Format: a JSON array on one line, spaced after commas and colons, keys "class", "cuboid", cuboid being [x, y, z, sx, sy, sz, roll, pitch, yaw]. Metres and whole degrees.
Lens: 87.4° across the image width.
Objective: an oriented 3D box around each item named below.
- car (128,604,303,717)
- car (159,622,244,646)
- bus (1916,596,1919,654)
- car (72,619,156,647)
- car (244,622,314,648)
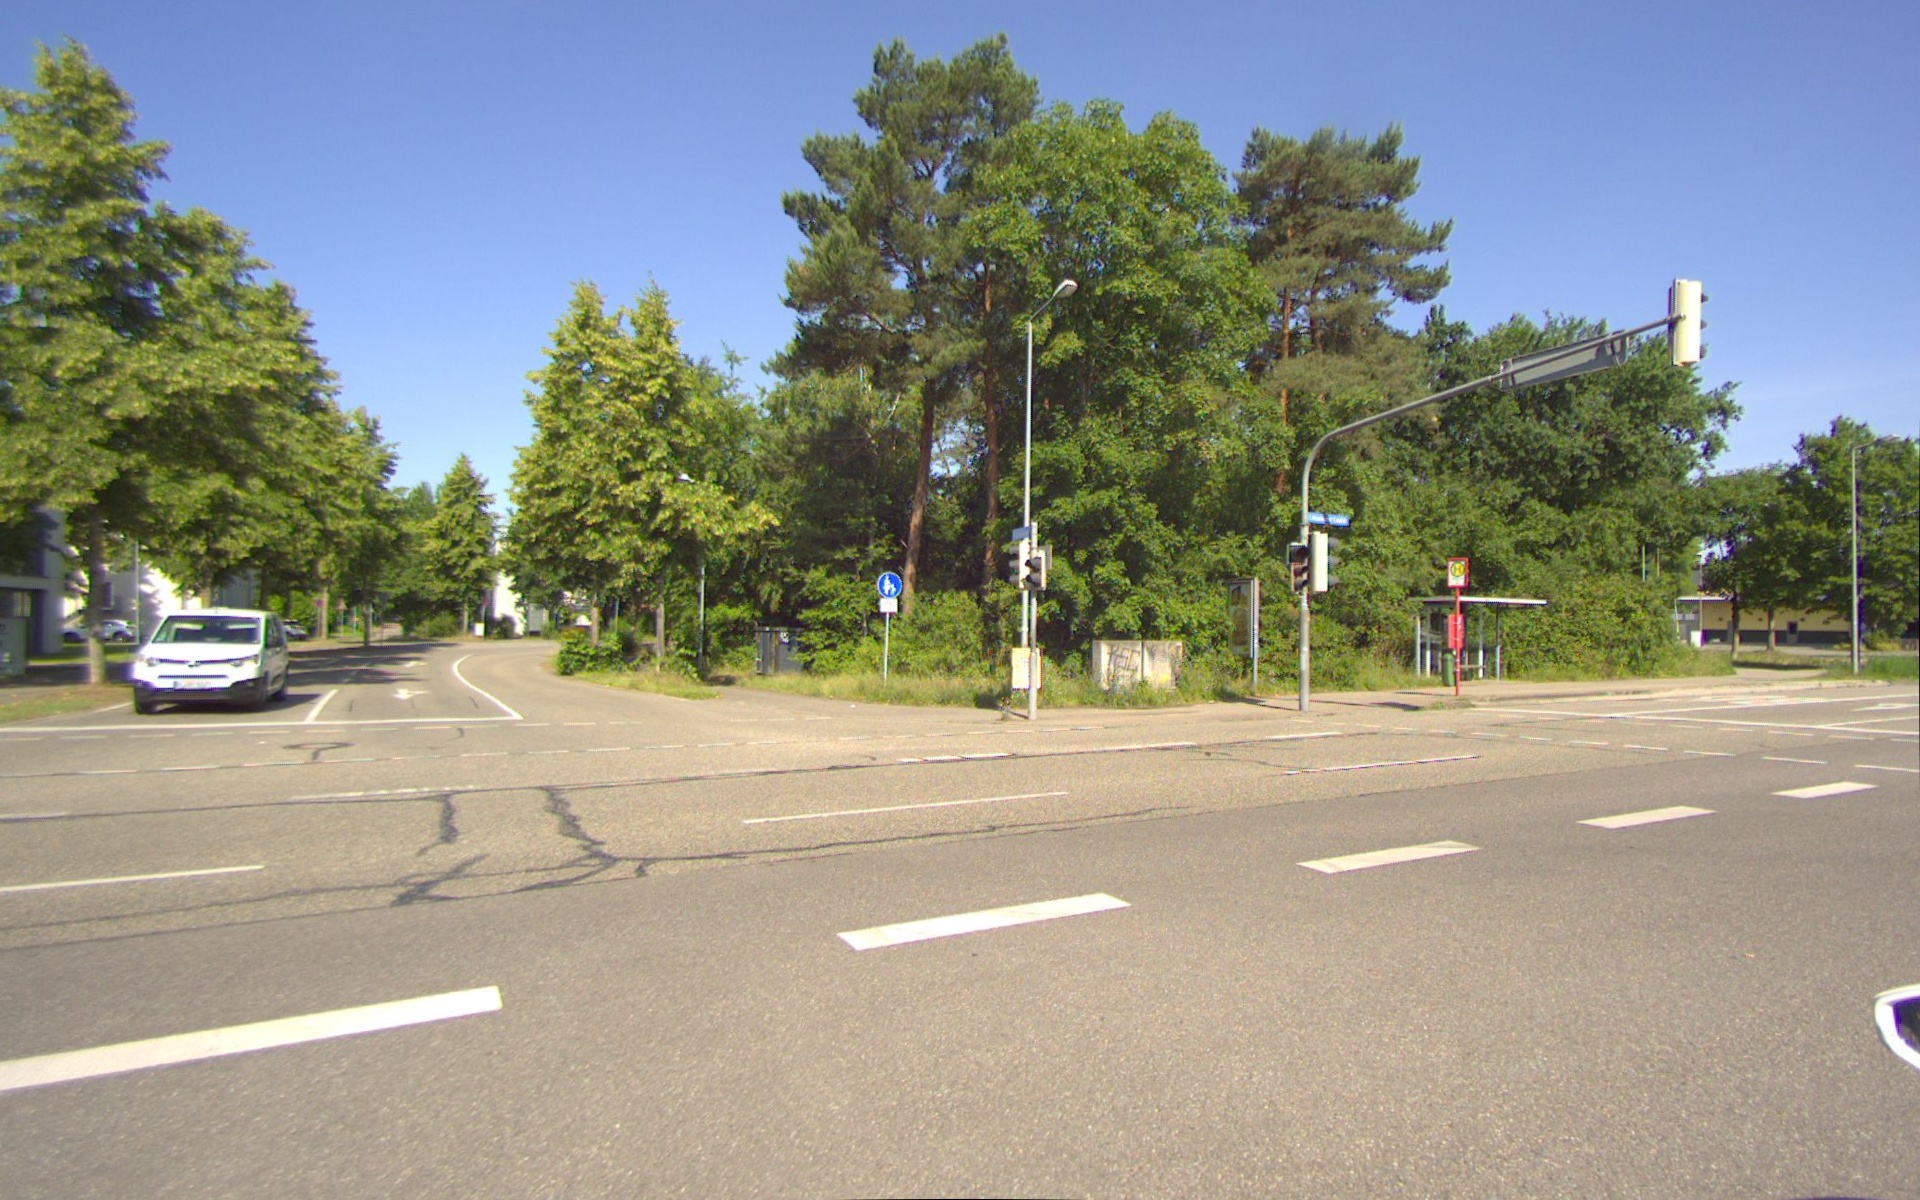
[{"class": "car", "cuboid": [-13.529, 1.069, 18.544, 1.829, 1.801, 4.629, 2, -3, -28]}, {"class": "car", "cuboid": [-51.604, 2.328, 68.443, 4.209, 1.506, 1.769, 2, 0, -20]}, {"class": "bus", "cuboid": [49.578, 1.311, 48.525, 8.893, 2.715, 2.566, 2, 0, -31]}, {"class": "car", "cuboid": [-56.233, 2.193, 66.848, 3.953, 1.751, 1.984, 2, 0, -30]}, {"class": "car", "cuboid": [-46.999, 2.416, 69.335, 3.637, 1.584, 1.599, 2, 0, -5]}]
